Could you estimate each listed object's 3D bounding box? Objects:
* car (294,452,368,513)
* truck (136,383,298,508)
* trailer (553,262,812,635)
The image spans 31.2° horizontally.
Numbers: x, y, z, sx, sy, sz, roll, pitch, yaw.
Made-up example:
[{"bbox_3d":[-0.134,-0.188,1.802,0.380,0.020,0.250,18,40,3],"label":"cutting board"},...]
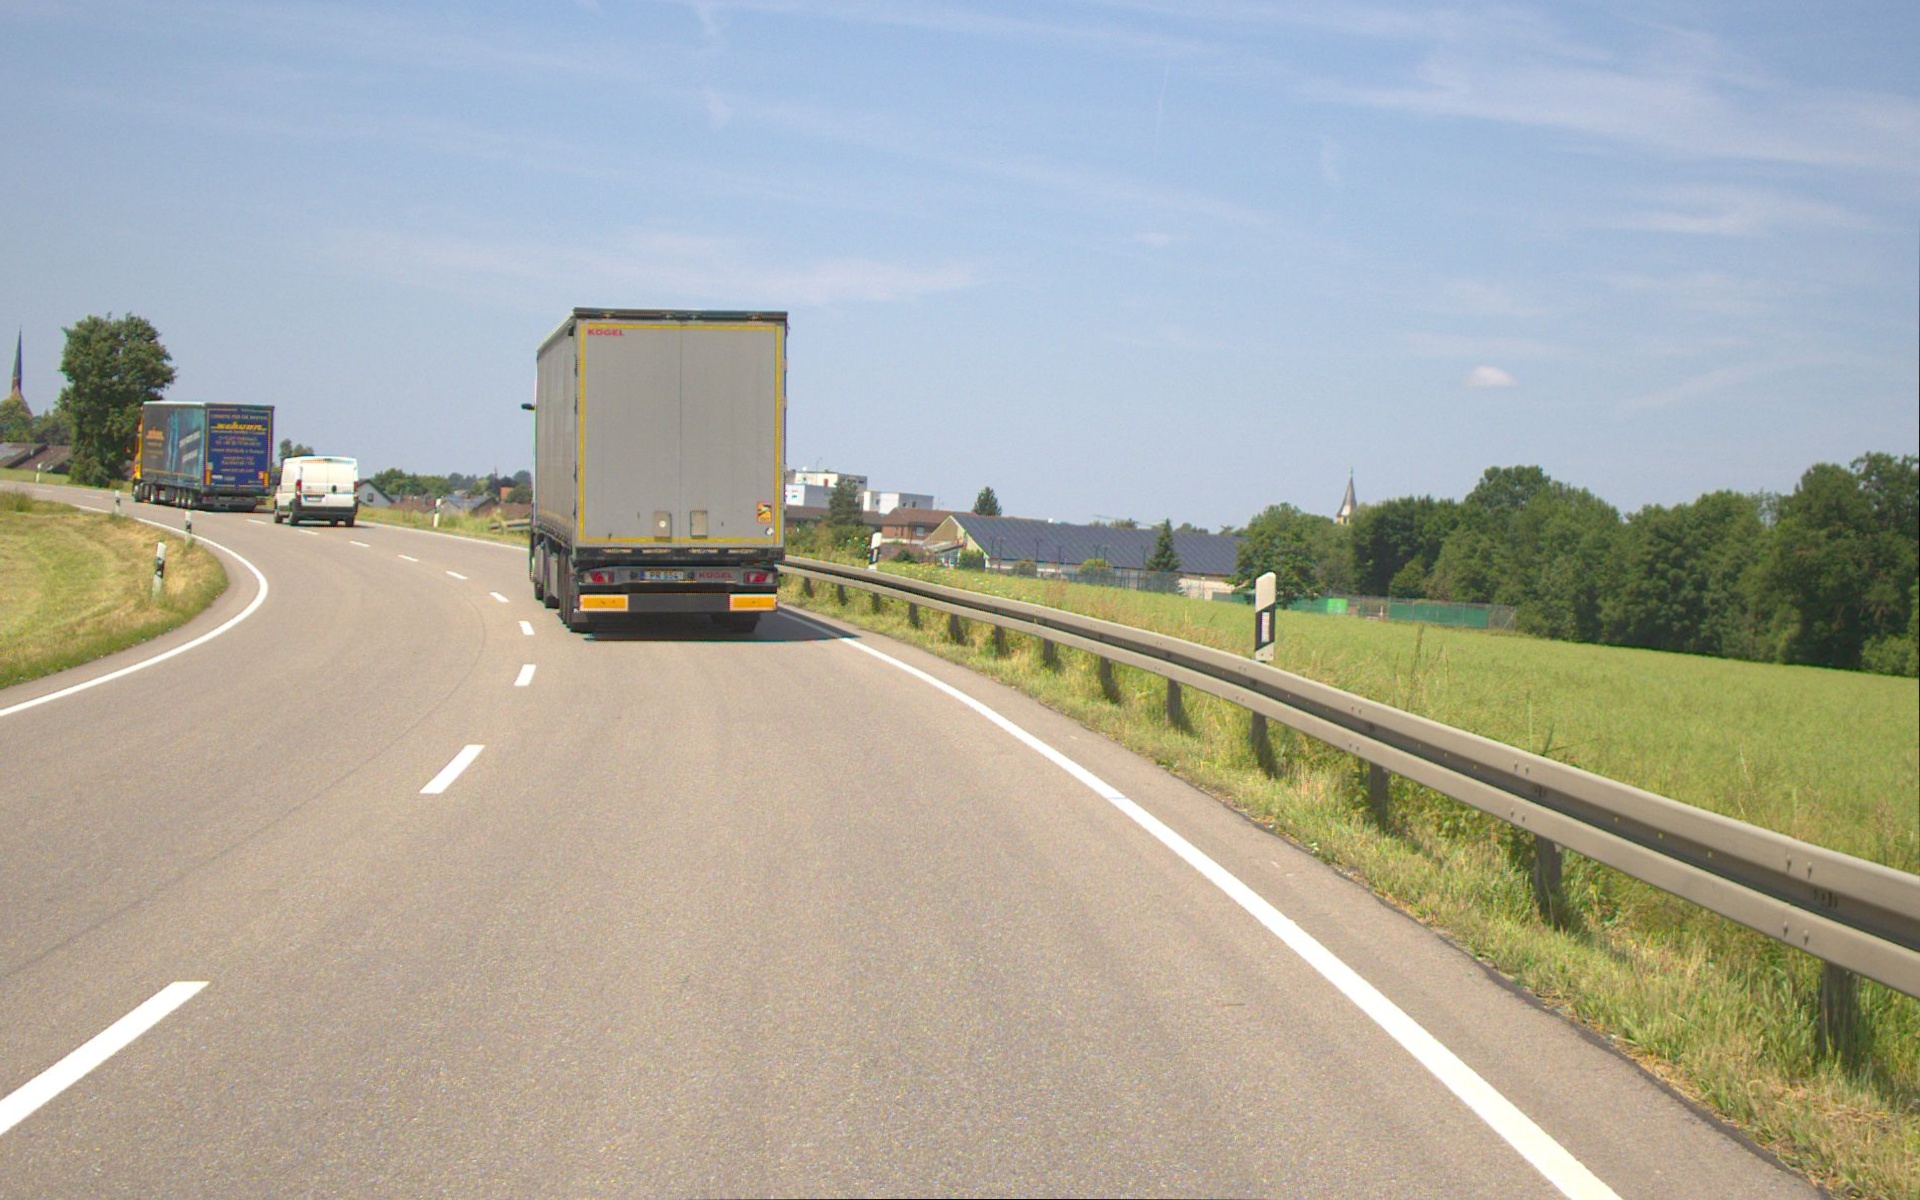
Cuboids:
[{"bbox_3d":[-20.410,-3.827,111.445,1.725,1.866,4.002,2,2,-19],"label":"car"},{"bbox_3d":[-29.216,-5.995,134.323,3.548,4.377,18.128,2,1,-20],"label":"truck"},{"bbox_3d":[-4.083,-2.019,47.504,2.866,4.385,13.497,0,2,-7],"label":"trailer"}]
